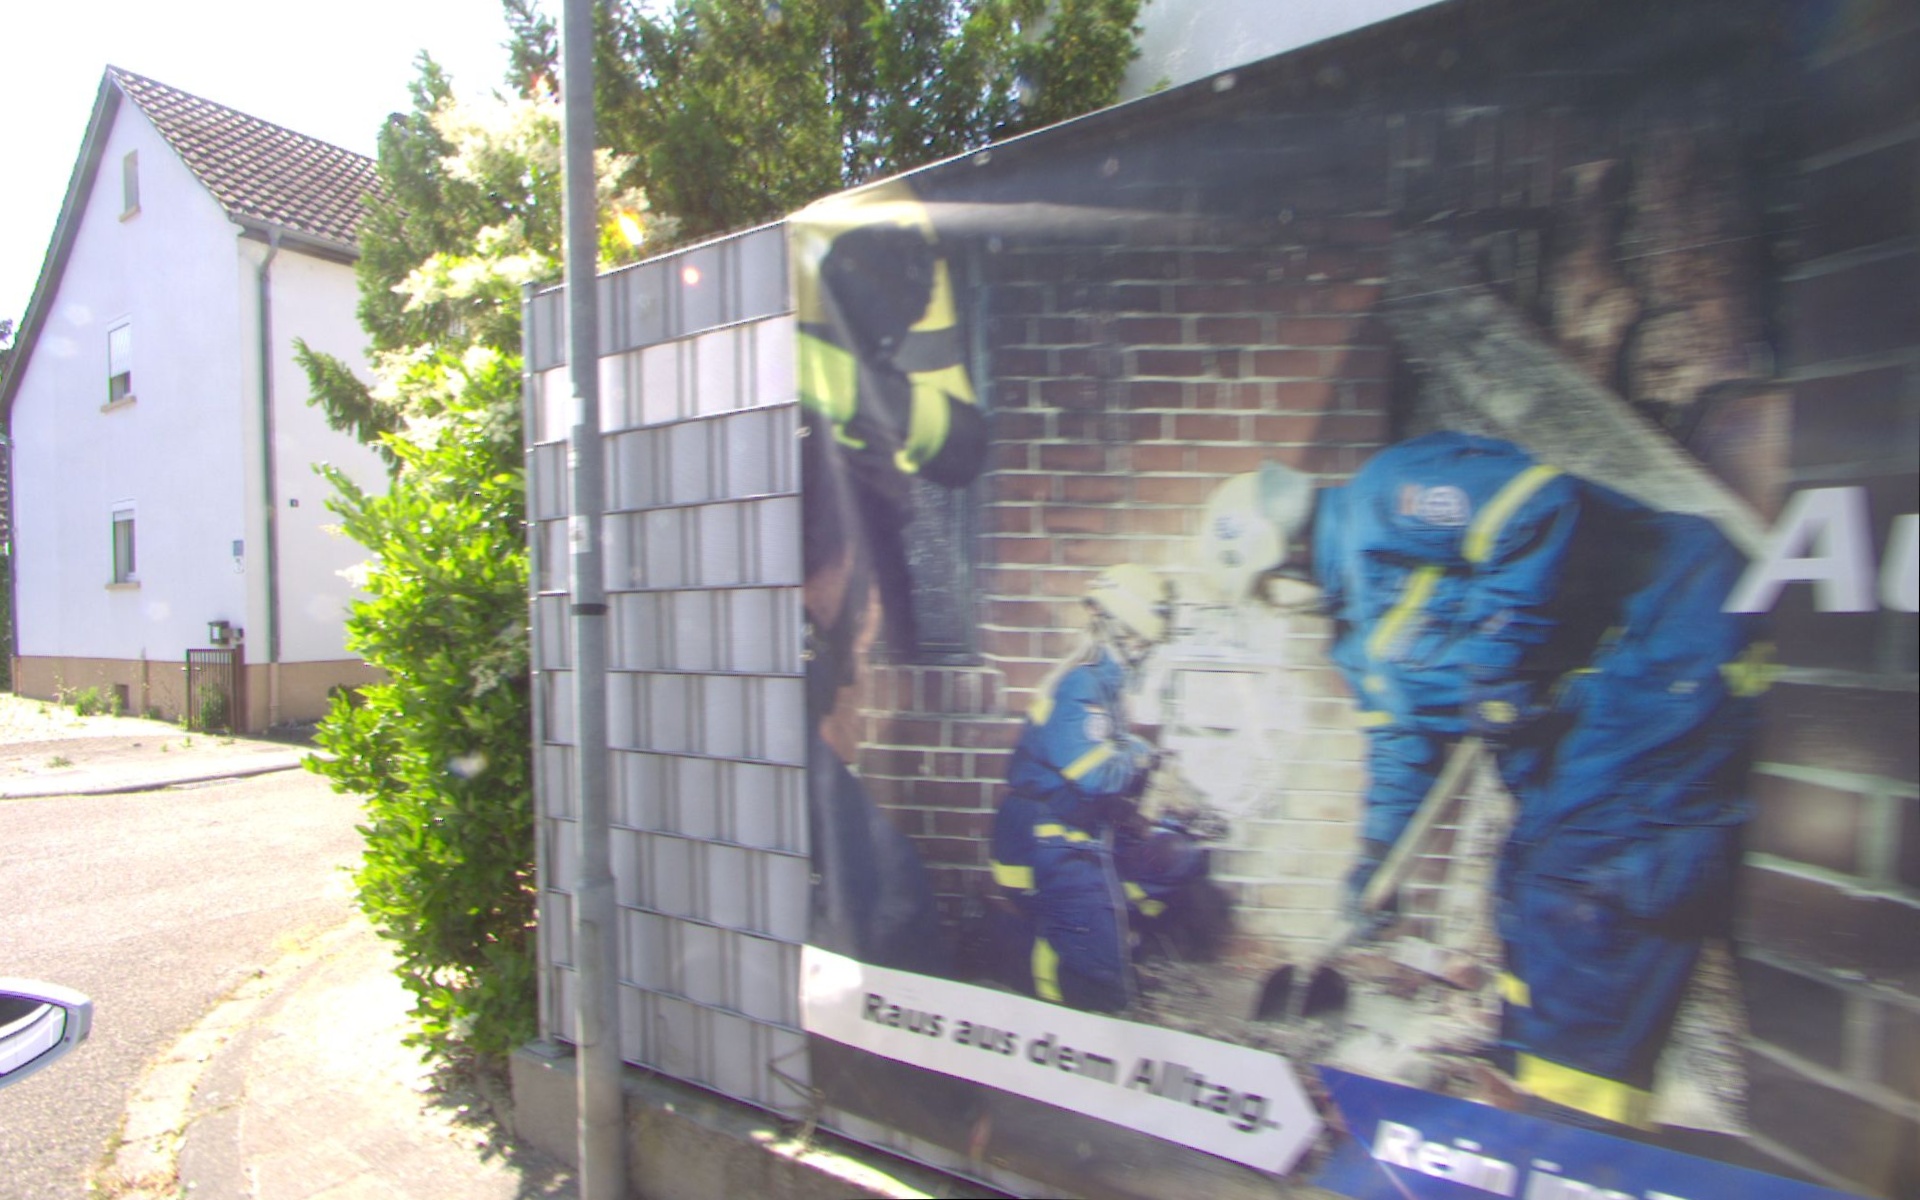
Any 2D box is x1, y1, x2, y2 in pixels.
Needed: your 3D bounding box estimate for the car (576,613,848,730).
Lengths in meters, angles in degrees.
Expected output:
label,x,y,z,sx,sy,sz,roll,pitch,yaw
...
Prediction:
label,x,y,z,sx,sy,sz,roll,pitch,yaw
car,-3.683,0.990,15.519,1.771,1.550,3.978,-1,-1,32
